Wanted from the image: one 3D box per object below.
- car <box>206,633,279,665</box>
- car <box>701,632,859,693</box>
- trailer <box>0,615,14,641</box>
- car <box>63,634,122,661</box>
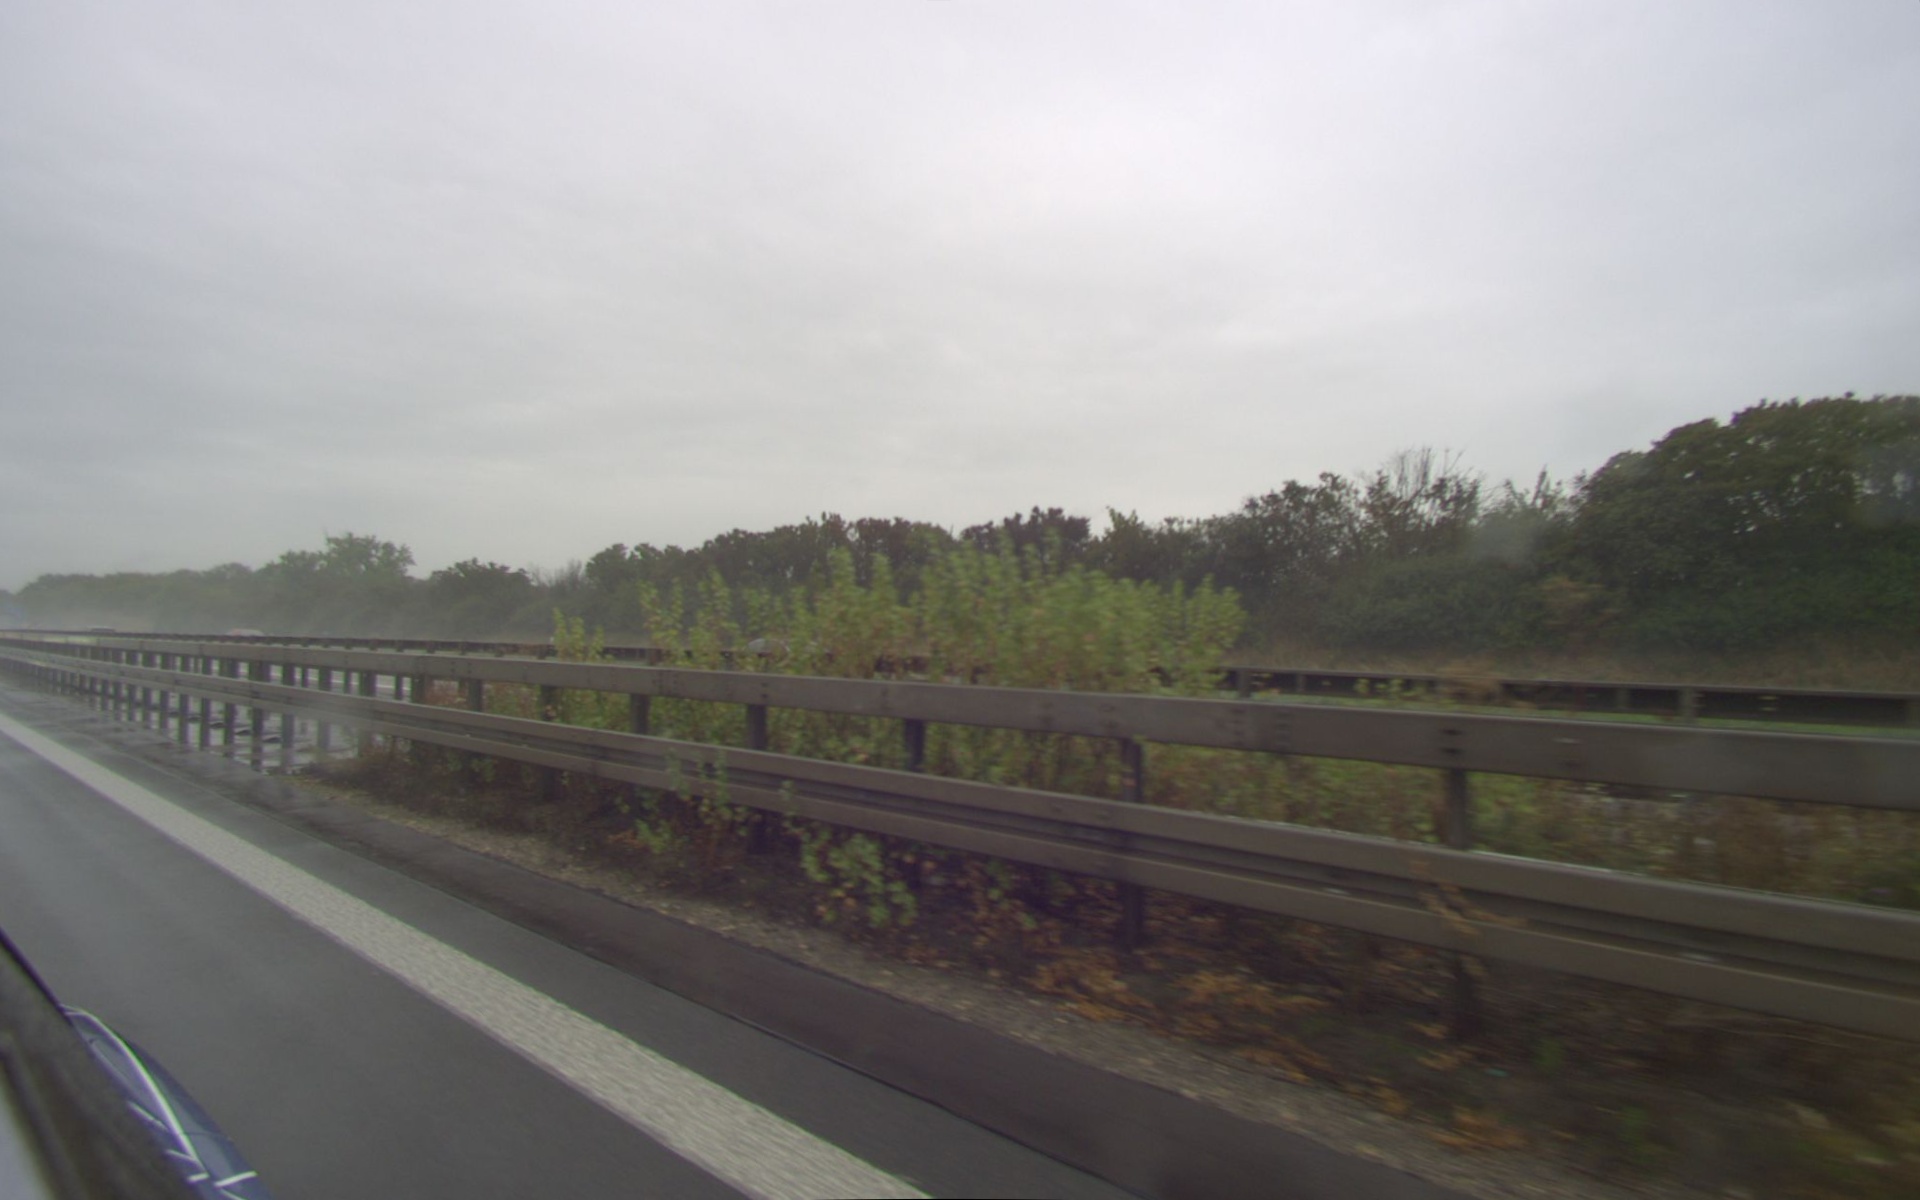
[{"bbox_3d":[-36.242,2.436,51.075,4.645,1.524,1.973,-2,-1,41],"label":"car"},{"bbox_3d":[-5.071,1.677,28.213,4.446,1.524,1.973,-2,-1,41],"label":"car"},{"bbox_3d":[-150.405,4.366,158.044,13.579,3.833,2.606,-2,-1,42],"label":"trailer"},{"bbox_3d":[-50.791,2.749,59.204,4.645,1.445,1.973,-2,-1,41],"label":"car"}]
